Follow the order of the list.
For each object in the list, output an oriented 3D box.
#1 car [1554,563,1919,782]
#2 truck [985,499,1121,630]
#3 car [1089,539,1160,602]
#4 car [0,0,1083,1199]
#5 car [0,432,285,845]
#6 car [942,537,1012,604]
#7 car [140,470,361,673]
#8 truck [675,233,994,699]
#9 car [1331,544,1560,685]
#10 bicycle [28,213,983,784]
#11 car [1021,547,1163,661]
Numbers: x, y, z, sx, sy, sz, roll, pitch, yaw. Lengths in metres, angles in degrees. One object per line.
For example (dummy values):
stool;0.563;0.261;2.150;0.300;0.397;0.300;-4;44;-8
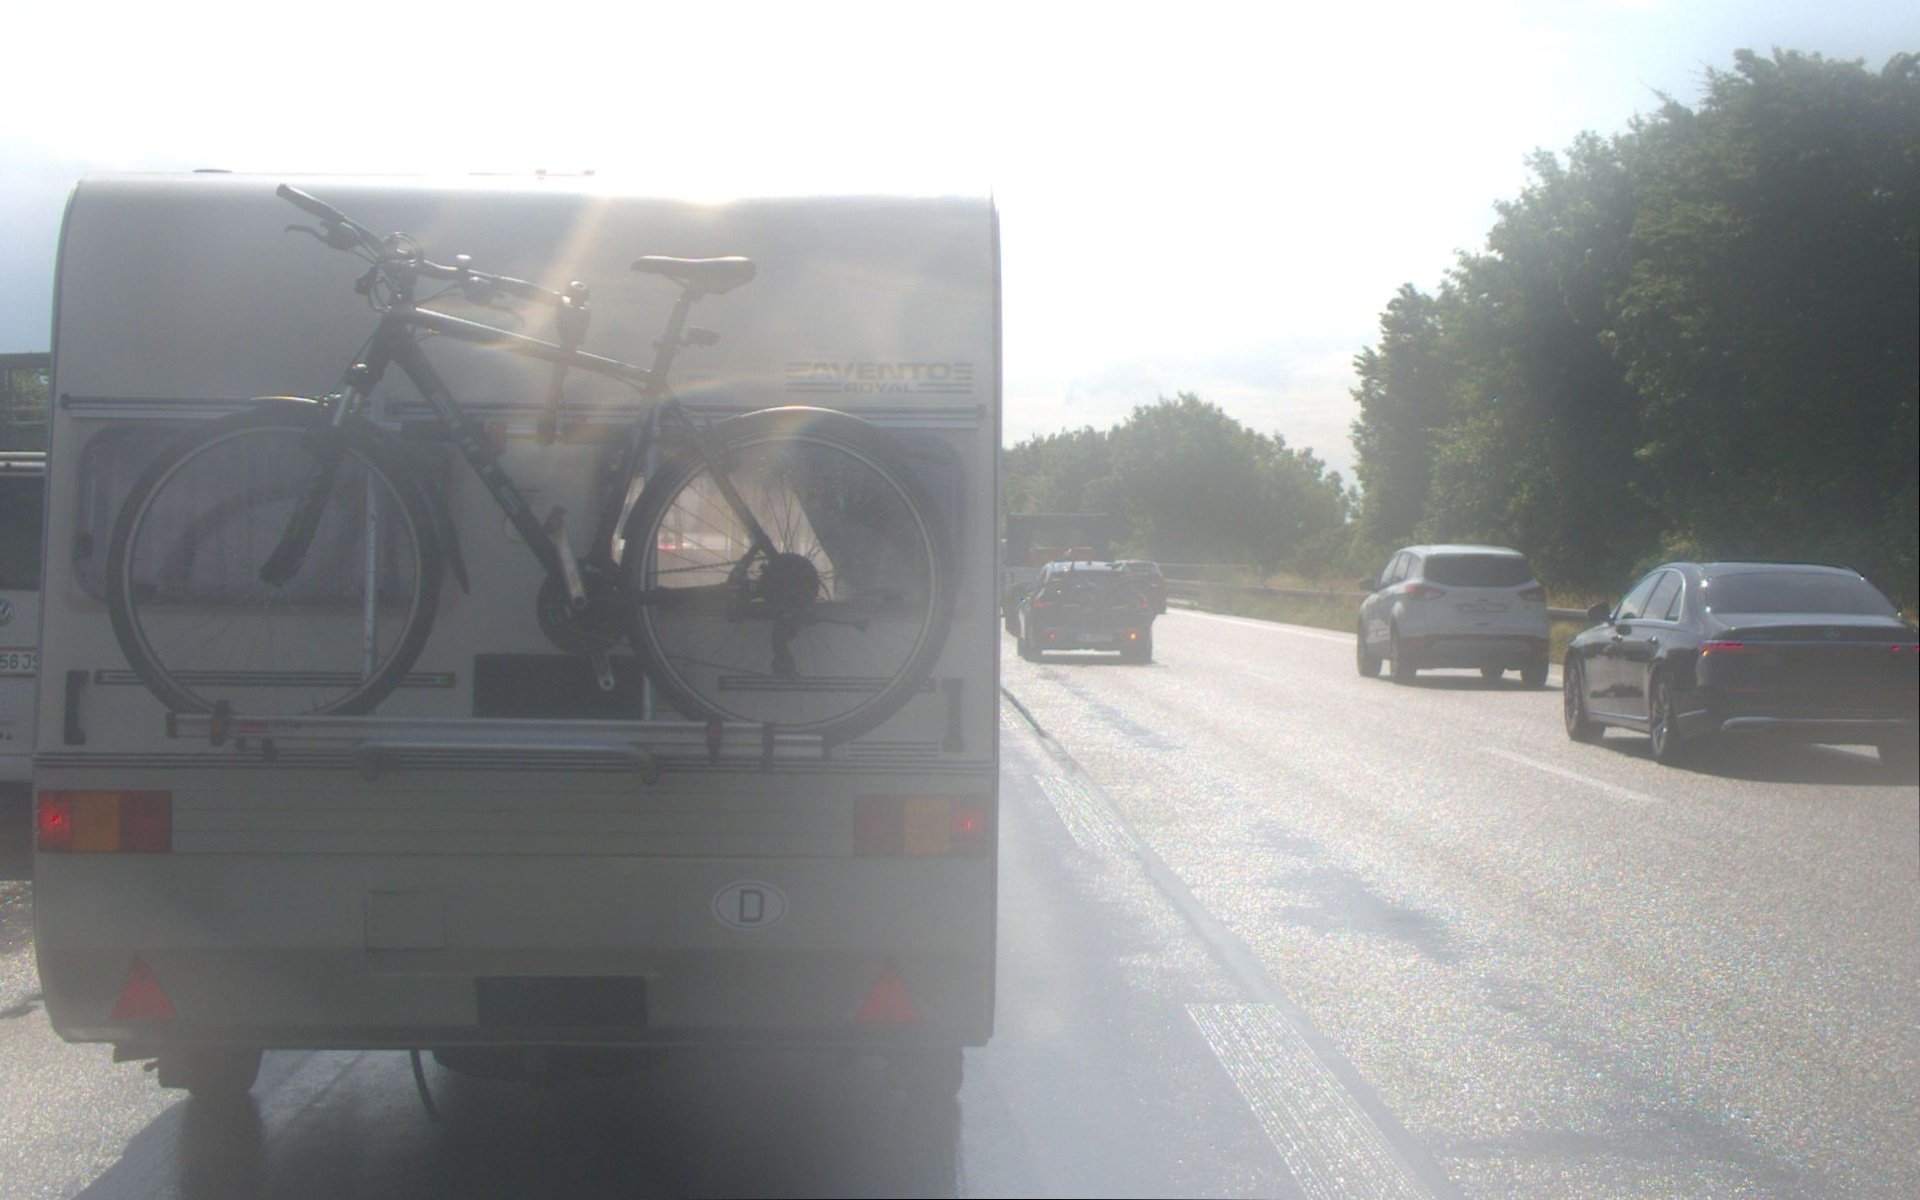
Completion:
car;5.890;0.480;25.659;1.876;1.489;4.001;1;1;-5
truck;1.757;-0.720;67.388;2.415;2.435;6.053;0;1;-1
car;4.526;-0.831;95.096;1.719;1.678;4.000;0;1;-1
car;-0.979;-0.009;9.413;2.410;2.665;4.000;1;0;-1
car;-4.908;0.162;18.785;1.876;2.007;4.001;1;1;-4
car;0.414;-0.771;87.894;1.719;1.678;4.000;0;1;-1
car;-7.352;-0.311;35.909;1.580;2.007;3.615;0;1;-1
truck;-1.465;-1.399;39.559;3.146;4.610;10.737;0;1;-2
car;5.852;0.148;41.913;1.876;1.623;4.001;1;1;-5
bicycle;-0.929;-0.208;7.209;1.933;1.137;0.384;1;0;0
car;1.870;0.034;49.681;1.835;1.552;4.000;1;1;-1
